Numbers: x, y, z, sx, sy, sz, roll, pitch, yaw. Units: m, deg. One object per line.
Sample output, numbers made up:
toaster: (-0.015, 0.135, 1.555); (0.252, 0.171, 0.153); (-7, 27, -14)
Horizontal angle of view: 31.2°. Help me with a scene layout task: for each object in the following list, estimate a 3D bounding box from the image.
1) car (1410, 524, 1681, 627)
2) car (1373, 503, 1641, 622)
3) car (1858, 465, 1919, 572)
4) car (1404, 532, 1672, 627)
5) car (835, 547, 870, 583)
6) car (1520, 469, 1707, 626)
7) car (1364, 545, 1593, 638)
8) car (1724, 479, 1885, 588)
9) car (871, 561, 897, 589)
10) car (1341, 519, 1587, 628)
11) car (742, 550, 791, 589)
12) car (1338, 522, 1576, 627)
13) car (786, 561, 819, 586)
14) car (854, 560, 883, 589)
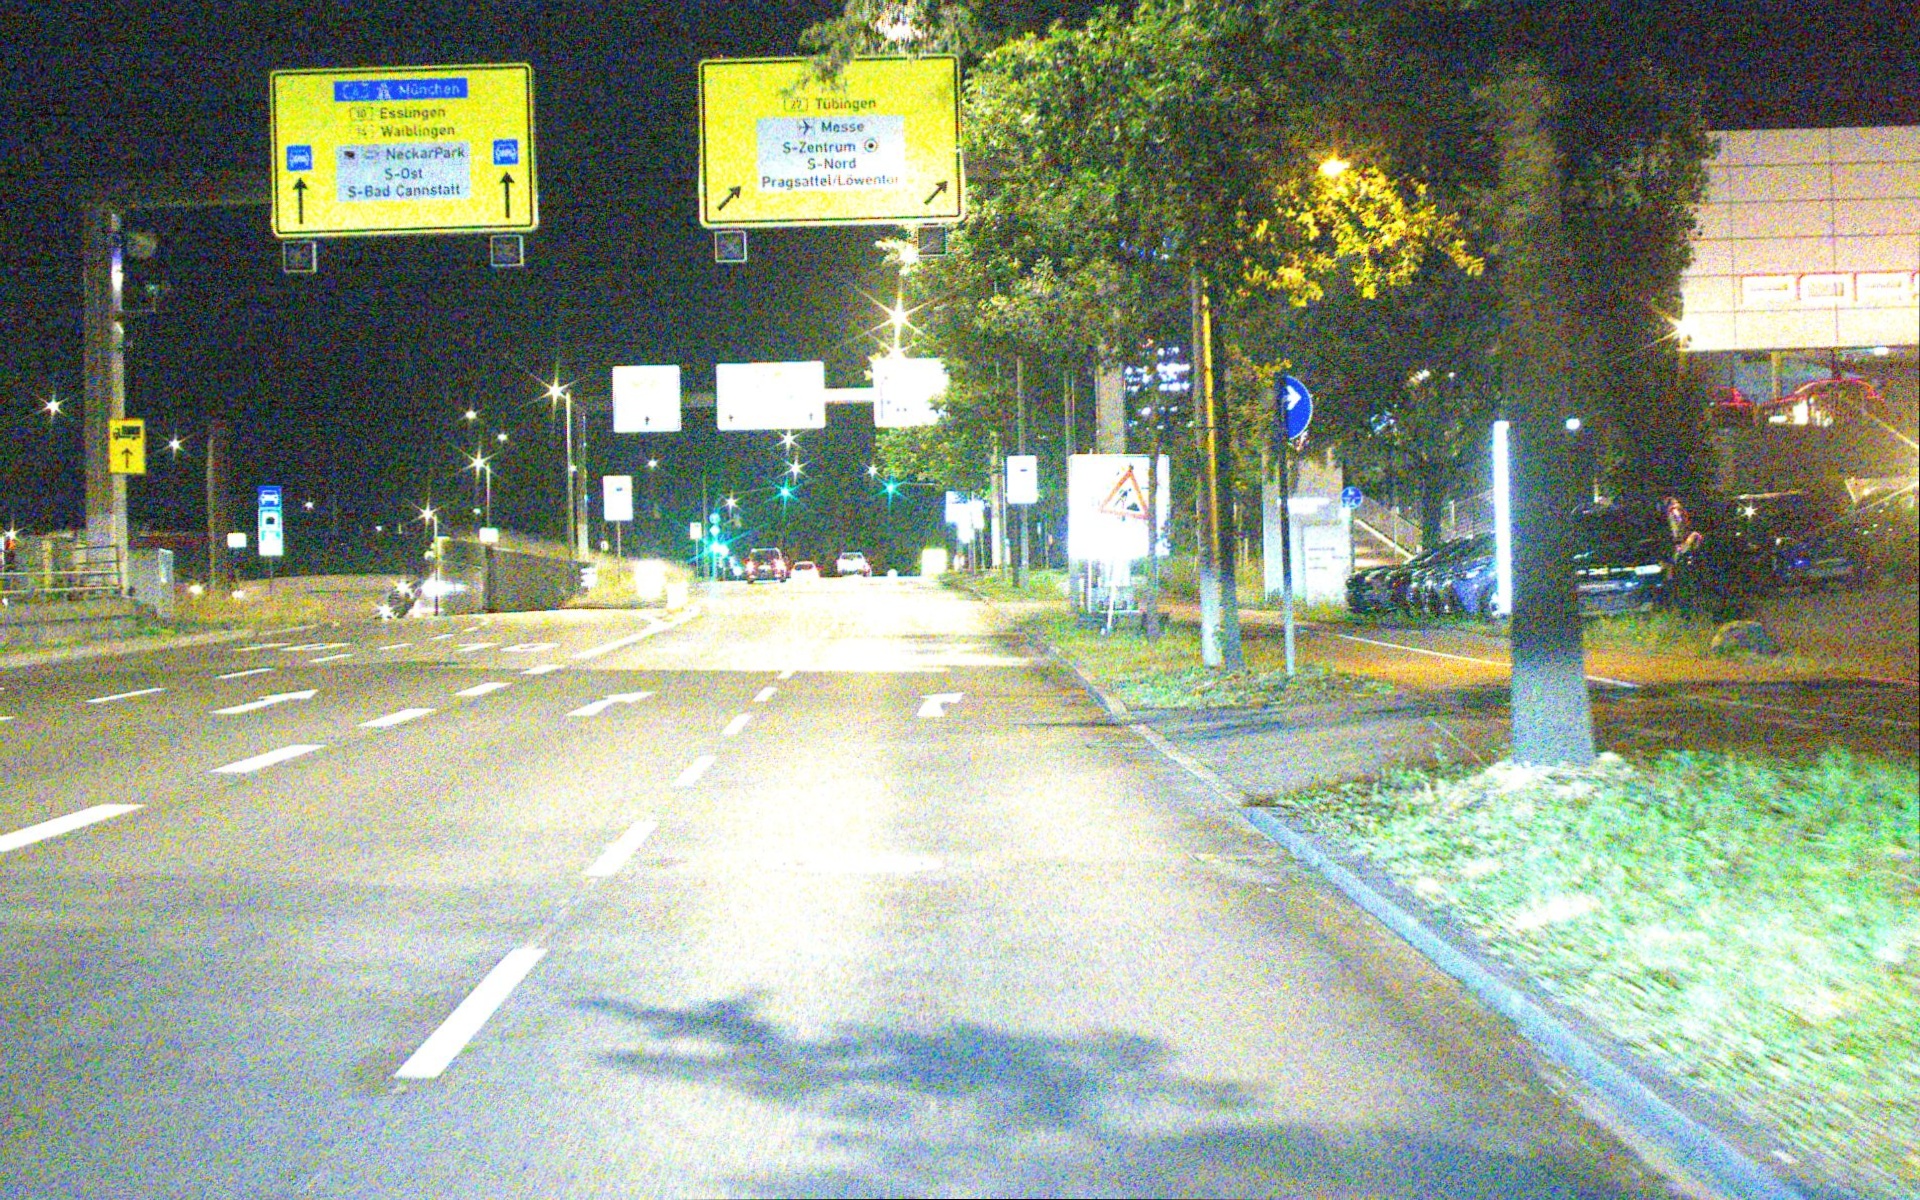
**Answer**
car: (8.621, -0.345, 50.784); (3.624, 1.446, 1.708); (1, -1, -4)
car: (8.859, -0.591, 55.876); (3.986, 1.850, 1.822); (1, -1, -4)
car: (15.115, -1.227, 53.115); (1.893, 1.506, 3.635); (0, -1, 6)
car: (8.971, -0.306, 53.512); (3.824, 1.406, 1.711); (1, -1, -3)
car: (-6.345, -2.067, 203.019); (1.993, 2.007, 4.000); (1, -1, -1)
car: (8.608, -0.646, 45.039); (1.995, 1.938, 3.996); (0, -1, 17)
car: (8.728, -0.135, 58.048); (3.510, 1.503, 1.736); (1, -1, -4)
car: (12.693, -0.979, 51.840); (1.893, 1.506, 3.635); (0, -1, 6)
car: (-5.308, -1.729, 240.188); (1.838, 1.831, 4.000); (1, -1, -1)
car: (8.893, -0.448, 60.834); (3.986, 1.850, 1.822); (1, -1, -4)
car: (-9.125, -1.435, 162.257); (1.968, 1.705, 4.000); (1, -1, 2)
car: (9.066, -0.448, 62.897); (3.986, 1.850, 1.822); (1, -1, -4)
car: (-10.414, -1.745, 227.253); (1.993, 1.590, 4.000); (-1, -1, -1)
car: (-5.781, -1.610, 217.249); (1.781, 1.722, 4.000); (1, -1, -1)
